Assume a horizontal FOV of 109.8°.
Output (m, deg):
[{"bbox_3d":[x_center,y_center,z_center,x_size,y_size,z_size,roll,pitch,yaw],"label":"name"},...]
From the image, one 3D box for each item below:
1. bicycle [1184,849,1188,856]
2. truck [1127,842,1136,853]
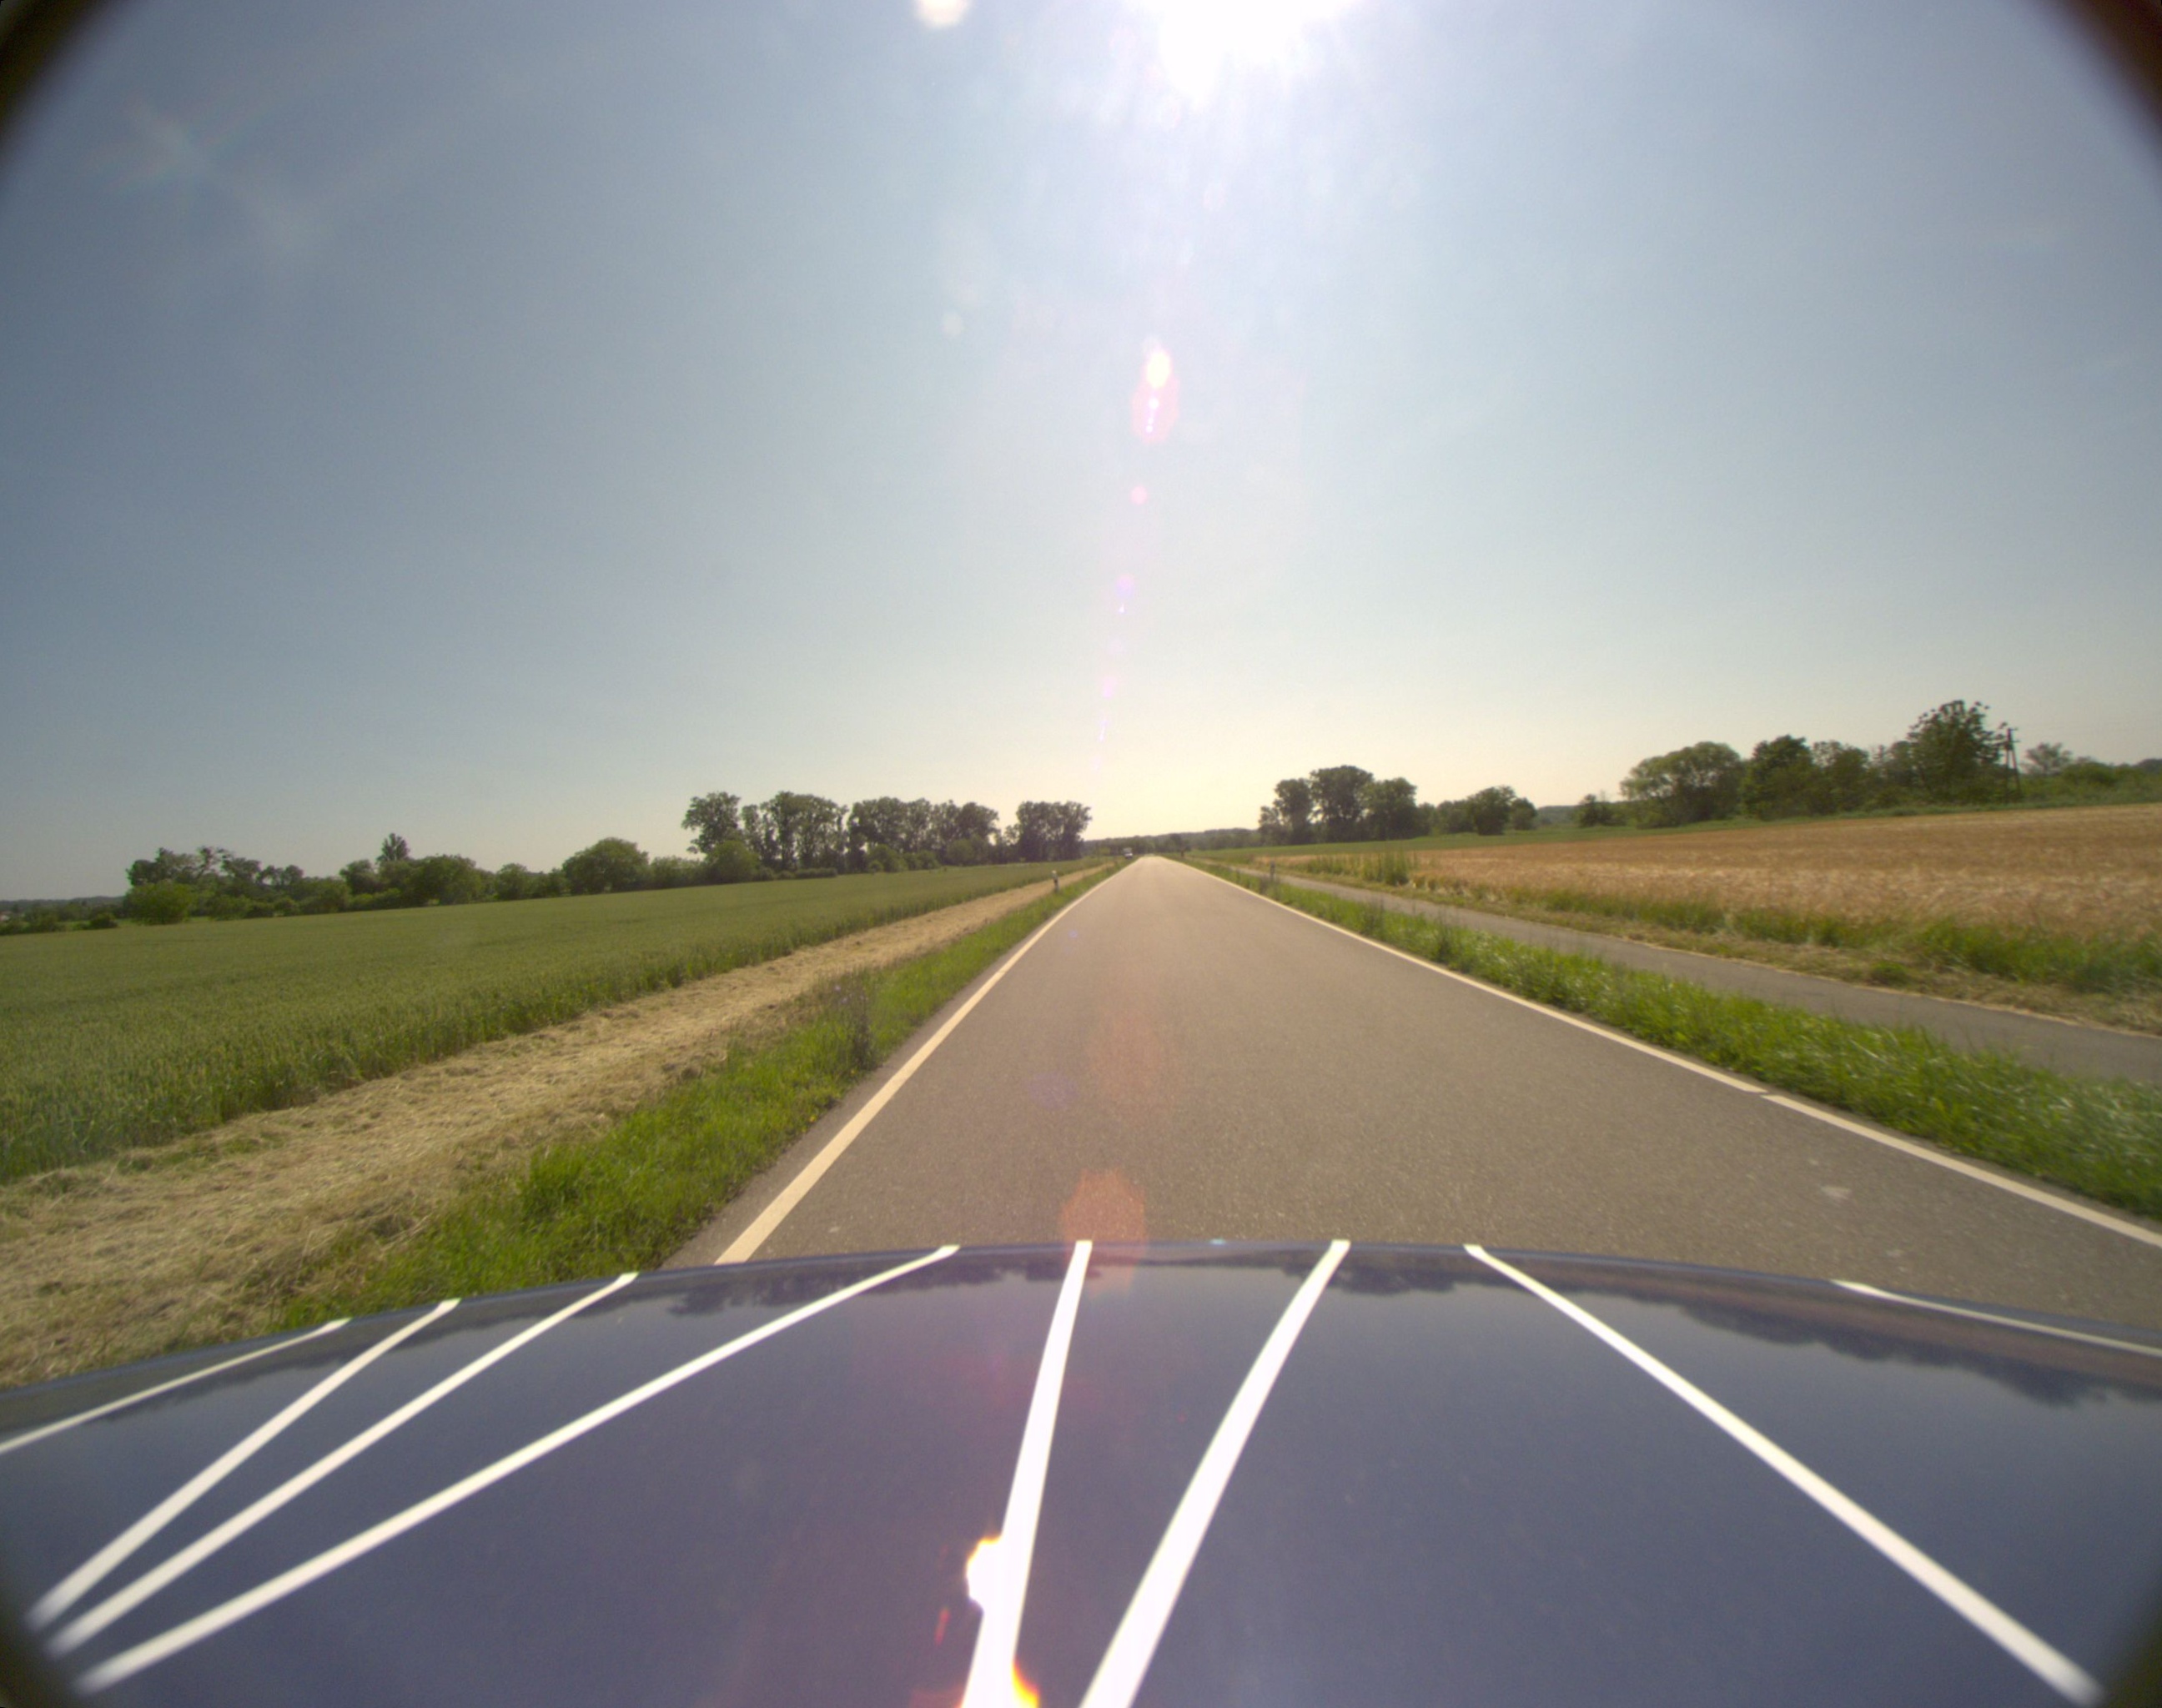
[{"bbox_3d":[20.359,-0.287,147.228,0.742,1.165,2.083,-4,0,6],"label":"bicycle"},{"bbox_3d":[13.683,-1.771,206.352,1.998,2.821,5.219,-4,0,6],"label":"truck"}]
